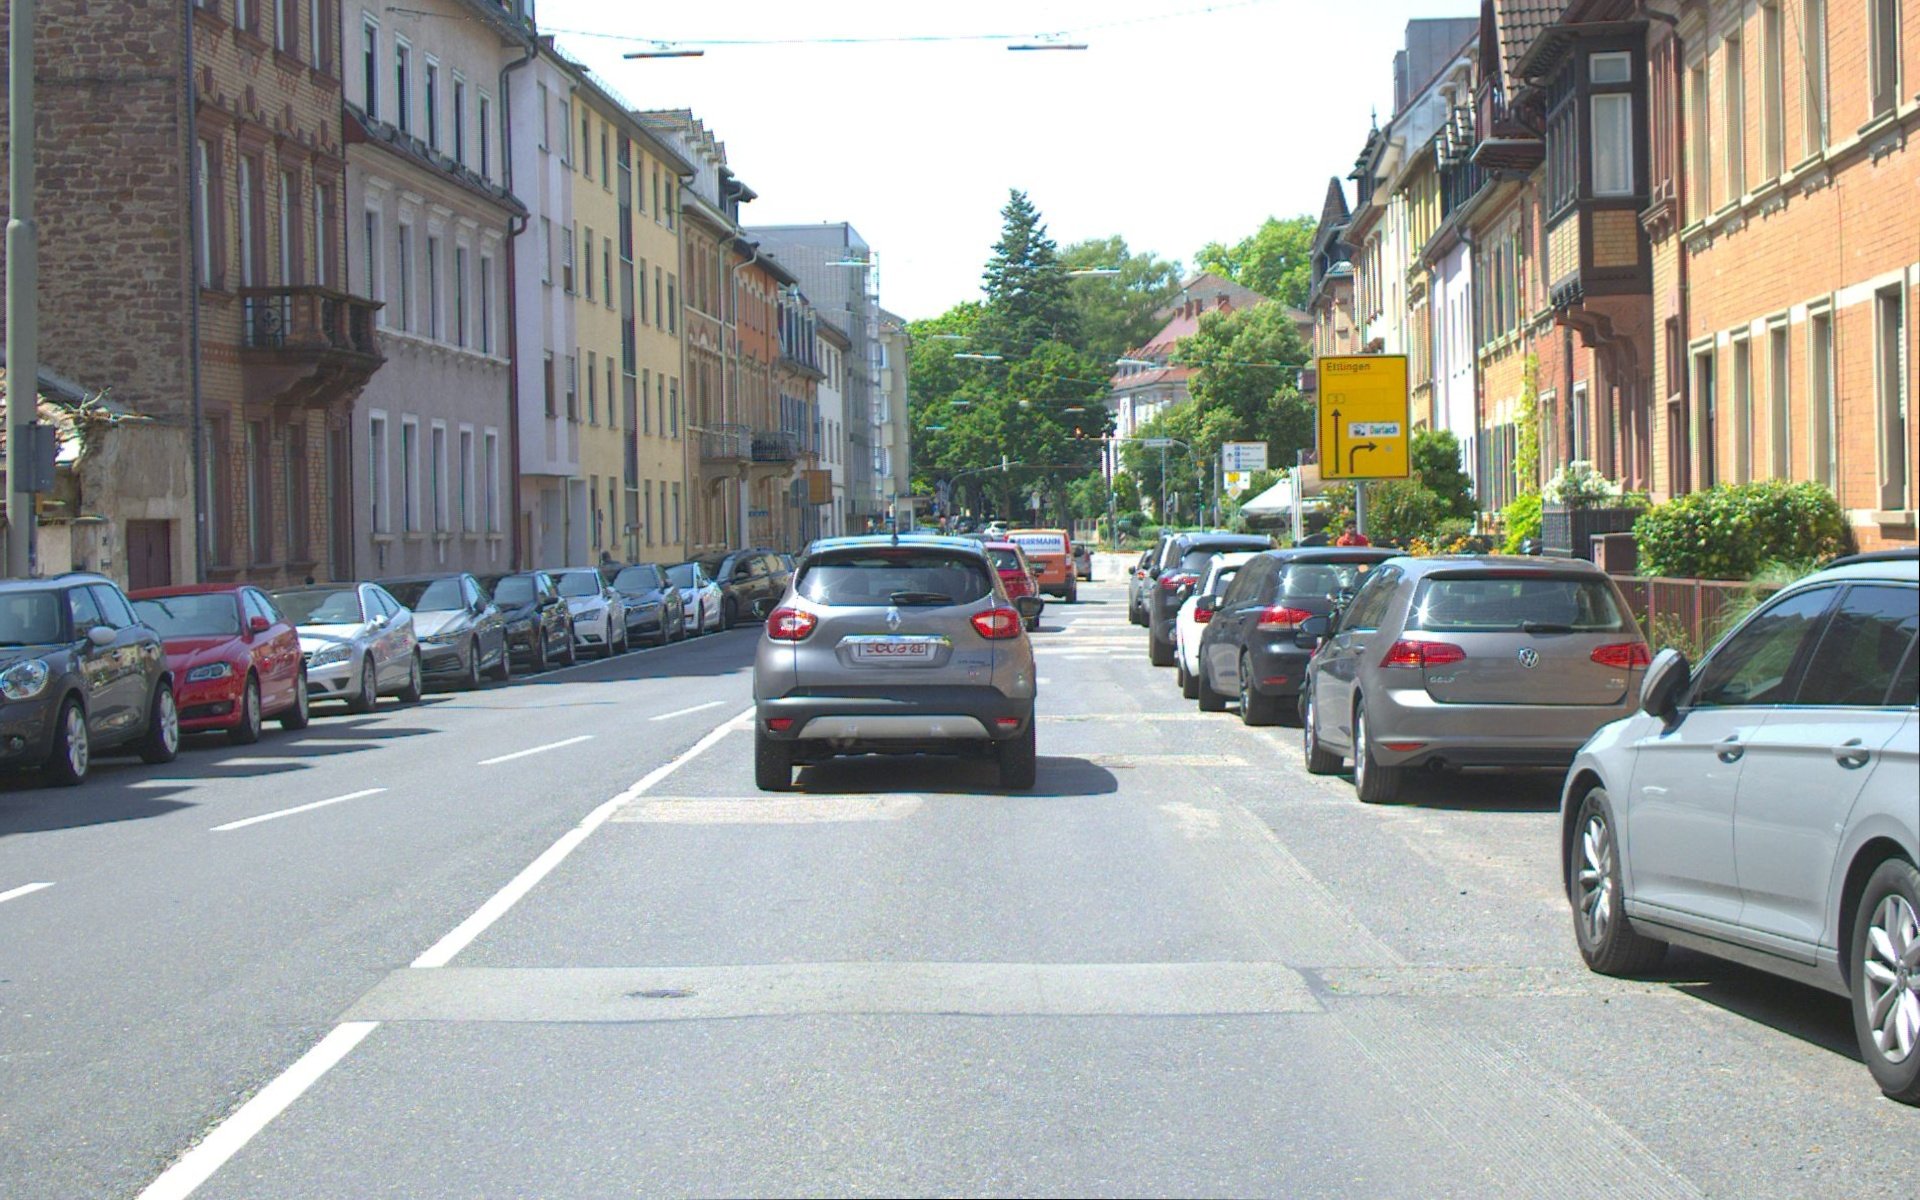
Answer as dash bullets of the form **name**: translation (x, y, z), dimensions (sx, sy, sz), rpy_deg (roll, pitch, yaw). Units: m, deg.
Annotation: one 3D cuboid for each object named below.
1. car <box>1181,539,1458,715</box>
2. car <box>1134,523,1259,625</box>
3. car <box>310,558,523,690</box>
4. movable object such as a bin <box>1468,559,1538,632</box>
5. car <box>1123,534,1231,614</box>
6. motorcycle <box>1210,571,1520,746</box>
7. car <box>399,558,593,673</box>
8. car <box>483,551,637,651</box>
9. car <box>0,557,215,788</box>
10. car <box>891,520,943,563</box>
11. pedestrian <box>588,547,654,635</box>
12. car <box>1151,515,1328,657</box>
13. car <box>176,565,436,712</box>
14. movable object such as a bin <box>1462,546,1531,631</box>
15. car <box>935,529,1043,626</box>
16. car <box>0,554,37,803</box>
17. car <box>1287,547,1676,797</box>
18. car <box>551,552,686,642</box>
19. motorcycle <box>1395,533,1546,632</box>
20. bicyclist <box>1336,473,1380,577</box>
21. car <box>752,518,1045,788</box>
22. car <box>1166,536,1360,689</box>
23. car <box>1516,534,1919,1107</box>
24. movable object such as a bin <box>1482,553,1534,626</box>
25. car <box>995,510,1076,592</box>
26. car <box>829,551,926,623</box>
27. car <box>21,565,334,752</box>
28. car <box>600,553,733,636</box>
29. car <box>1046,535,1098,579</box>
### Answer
- **car**: translation (3.062, 0.194, 30.104), dimensions (1.648, 1.409, 4.502), rpy_deg (0, 1, -4)
- **car**: translation (4.200, -0.501, 61.712), dimensions (1.860, 1.742, 4.618), rpy_deg (1, 1, -1)
- **car**: translation (-6.808, 0.268, 43.473), dimensions (1.840, 1.417, 4.502), rpy_deg (-5, 1, 0)
- **movable object such as a bin**: translation (6.997, -0.063, 44.300), dimensions (0.788, 0.904, 0.539), rpy_deg (-2, 1, -1)
- **car**: translation (4.204, -0.541, 67.231), dimensions (1.860, 1.482, 4.310), rpy_deg (1, 1, 1)
- **motorcycle**: translation (2.998, 0.407, 25.516), dimensions (1.994, 1.221, 1.110), rpy_deg (1, 1, 41)
- **car**: translation (-6.594, 0.180, 49.337), dimensions (1.840, 1.417, 4.502), rpy_deg (-5, 1, 3)
- **car**: translation (-6.300, -0.006, 54.587), dimensions (1.840, 1.417, 4.502), rpy_deg (-3, 1, 0)
- **car**: translation (-7.211, 0.533, 26.326), dimensions (1.840, 1.591, 4.502), rpy_deg (-4, 1, 1)
- **car**: translation (-1.857, -2.561, 151.066), dimensions (1.905, 1.815, 4.302), rpy_deg (-1, 1, 4)
- **pedestrian**: translation (-6.856, -0.195, 69.565), dimensions (1.151, 1.744, 0.969), rpy_deg (-1, 1, 4)
- **car**: translation (3.506, -0.204, 43.887), dimensions (1.993, 1.656, 4.625), rpy_deg (-2, 1, 2)
- **car**: translation (-7.070, 0.374, 37.614), dimensions (1.840, 1.417, 4.502), rpy_deg (-3, 1, 1)
- **movable object such as a bin**: translation (7.008, -0.154, 44.942), dimensions (0.788, 1.085, 0.539), rpy_deg (-2, 1, -1)
- **car**: translation (0.535, -0.417, 62.040), dimensions (1.812, 1.615, 4.441), rpy_deg (-2, 1, 1)
- **car**: translation (-7.115, 0.568, 20.526), dimensions (1.840, 1.591, 4.502), rpy_deg (-3, 1, 1)
- **car**: translation (3.090, 0.375, 21.148), dimensions (1.700, 1.376, 4.167), rpy_deg (0, 1, -1)
- **car**: translation (-5.967, -0.077, 60.510), dimensions (1.840, 1.417, 4.646), rpy_deg (-3, 1, 0)
- **motorcycle**: translation (7.855, -0.275, 52.967), dimensions (2.129, 1.403, 0.937), rpy_deg (-3, 1, 2)
- **bicyclist**: translation (5.717, -1.078, 49.426), dimensions (0.532, 1.464, 0.791), rpy_deg (-2, 1, 3)
- **car**: translation (-0.380, 0.287, 22.566), dimensions (1.744, 1.611, 4.000), rpy_deg (0, 1, 0)
- **car**: translation (3.027, 0.083, 35.092), dimensions (1.716, 1.409, 4.589), rpy_deg (-2, 1, 2)
- **car**: translation (3.193, 0.536, 10.395), dimensions (1.853, 1.458, 4.551), rpy_deg (0, 1, -6)
- **movable object such as a bin**: translation (8.038, -0.162, 50.416), dimensions (0.659, 1.051, 0.748), rpy_deg (-1, 1, 3)
- **car**: translation (1.950, -1.284, 89.022), dimensions (1.993, 2.007, 4.466), rpy_deg (-2, 1, 1)
- **car**: translation (-1.667, -0.290, 70.737), dimensions (1.790, 1.415, 4.315), rpy_deg (-1, 1, 1)
- **car**: translation (-6.982, 0.469, 31.134), dimensions (1.839, 1.417, 4.503), rpy_deg (-4, 1, -2)
- **car**: translation (-5.615, -0.125, 66.283), dimensions (1.840, 1.417, 4.557), rpy_deg (-4, 1, 3)
- **car**: translation (4.084, -1.583, 124.950), dimensions (1.763, 1.554, 3.942), rpy_deg (-1, 1, 4)
